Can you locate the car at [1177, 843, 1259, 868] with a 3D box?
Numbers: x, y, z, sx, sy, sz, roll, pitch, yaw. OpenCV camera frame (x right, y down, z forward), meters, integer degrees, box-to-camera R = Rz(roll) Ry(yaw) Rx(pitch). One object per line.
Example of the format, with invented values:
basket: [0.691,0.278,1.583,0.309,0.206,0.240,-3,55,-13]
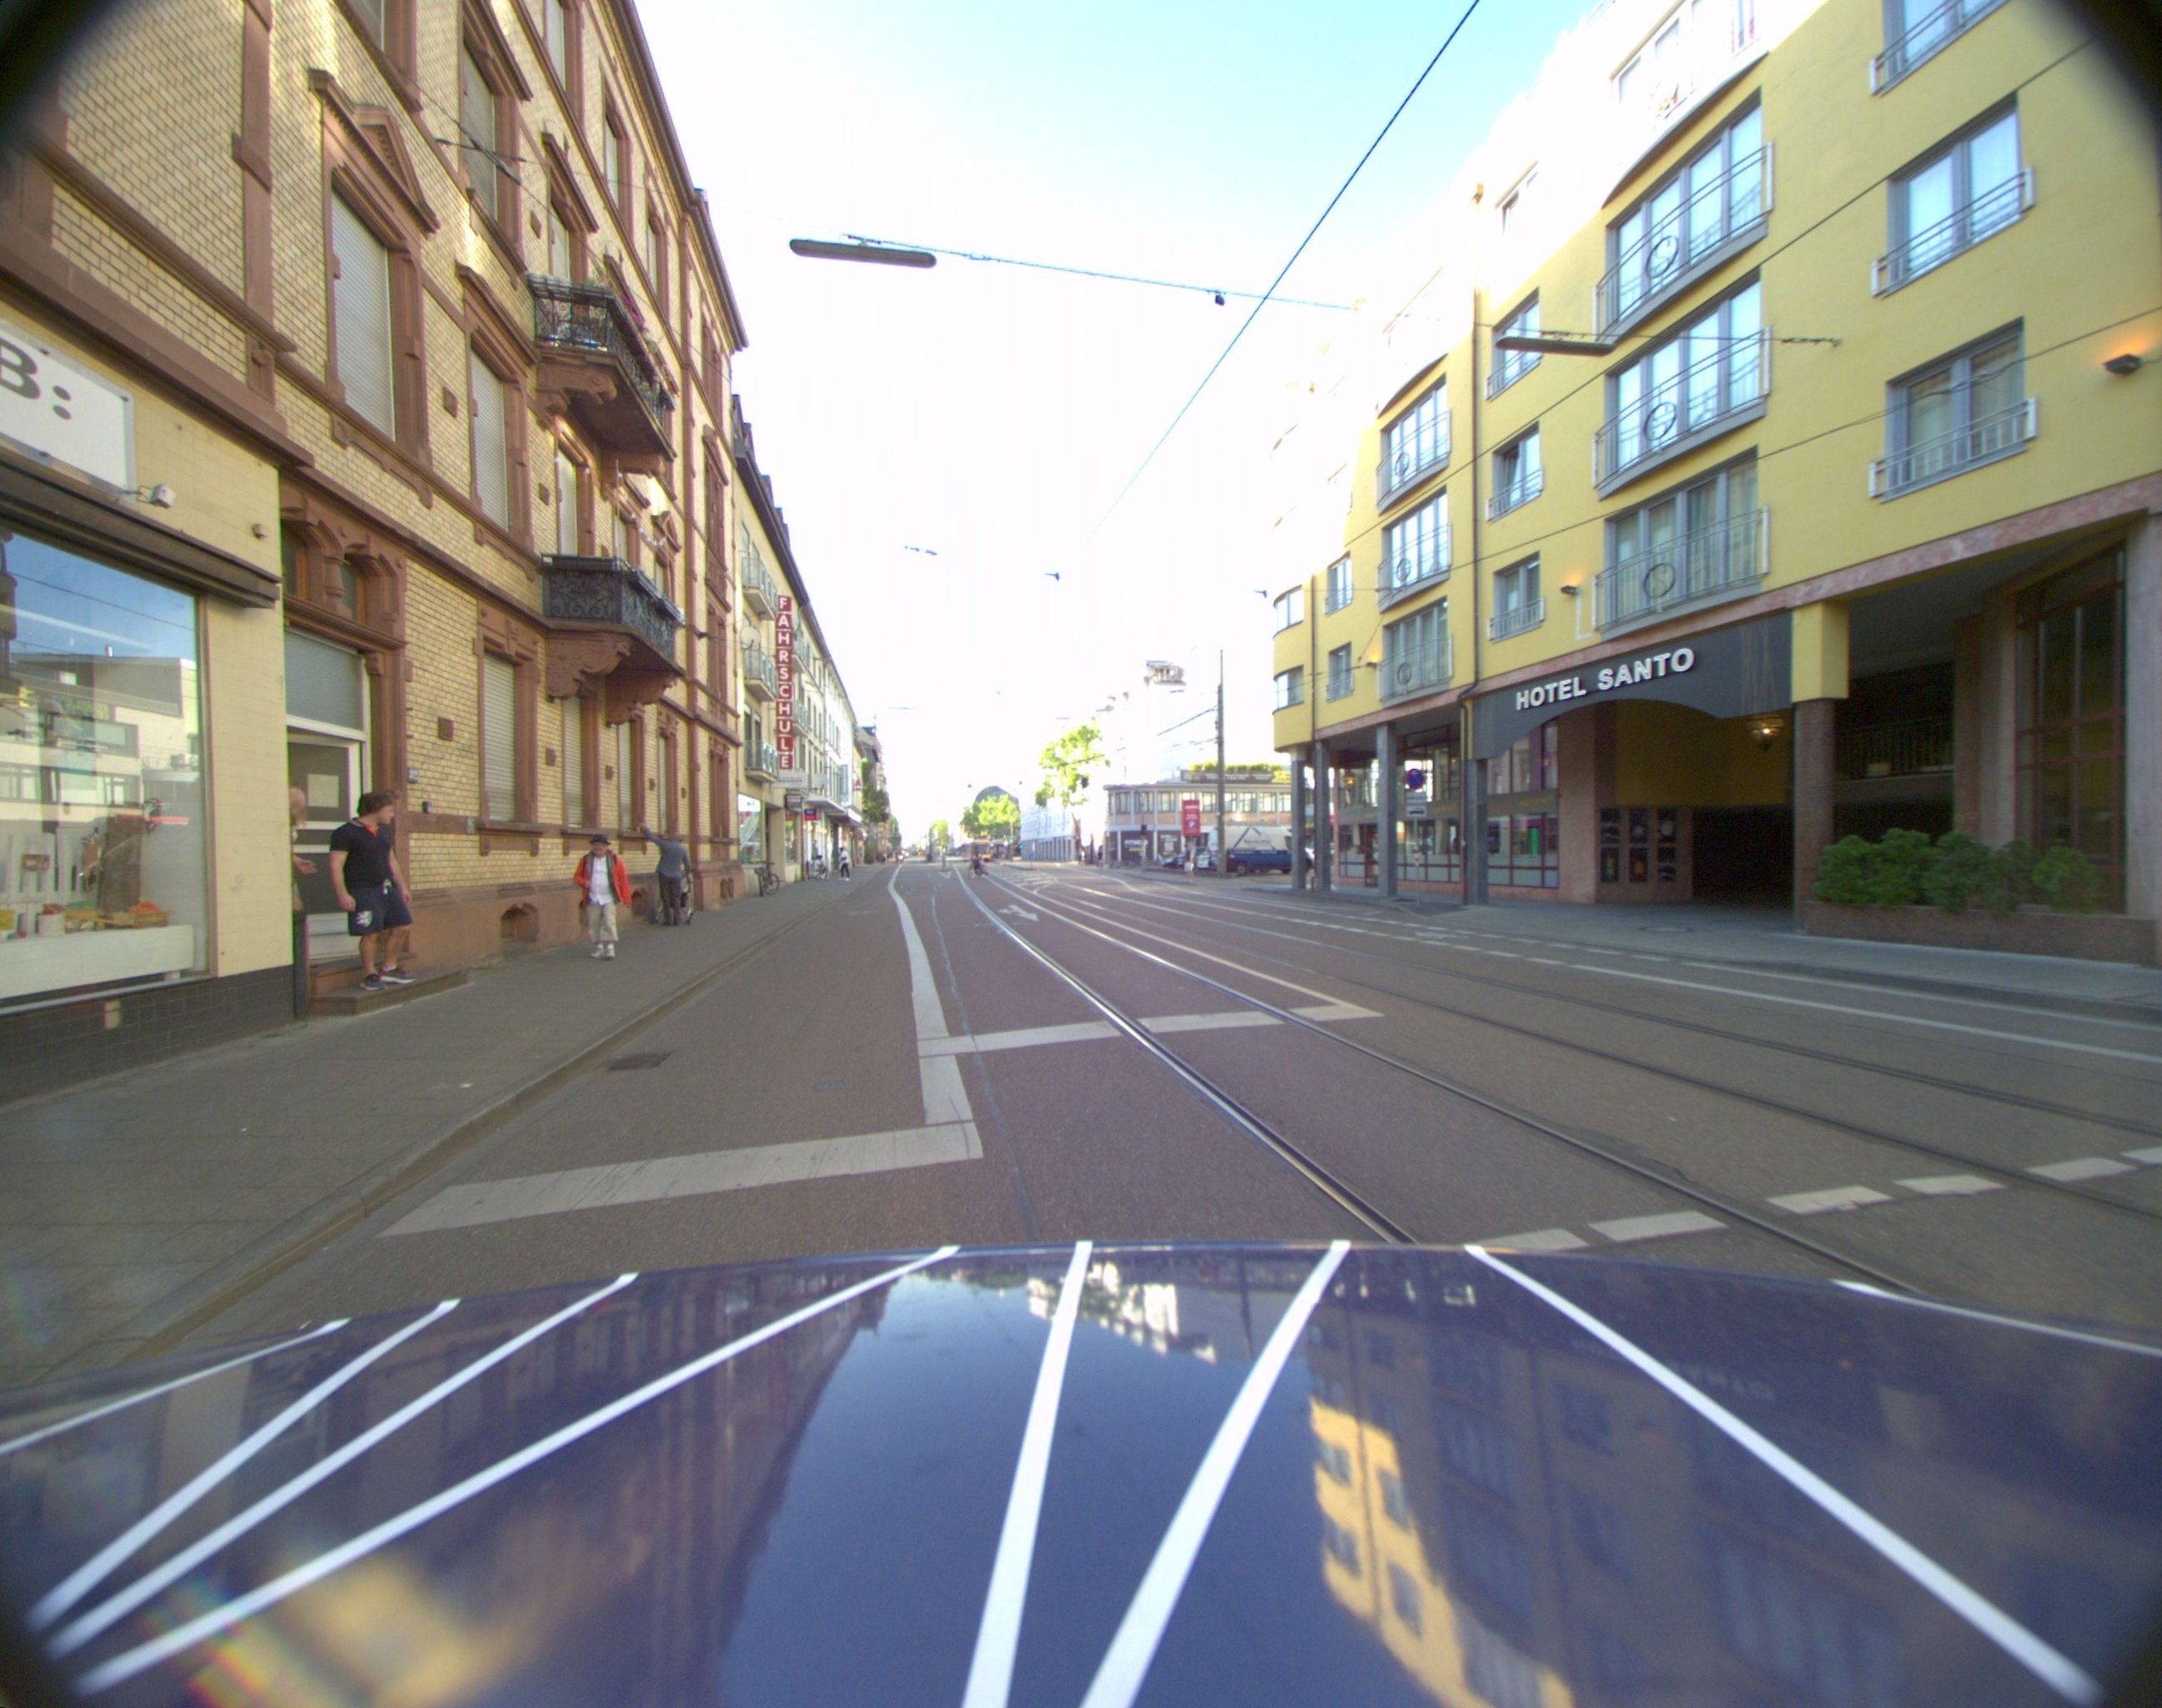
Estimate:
car: [8.408,0.095,46.713,4.605,1.467,1.877,-1,0,-12]

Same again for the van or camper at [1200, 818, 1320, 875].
van or camper: [9.242,-0.407,39.413,5.626,2.810,2.313,-1,0,-12]

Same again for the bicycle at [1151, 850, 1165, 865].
bicycle: [6.008,0.250,59.151,0.444,1.180,1.829,-1,0,-15]

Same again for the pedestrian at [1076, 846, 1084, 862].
pedestrian: [-0.103,0.015,78.539,0.631,1.706,0.826,0,1,15]

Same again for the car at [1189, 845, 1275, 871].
car: [8.827,0.214,44.640,4.605,1.467,1.877,-1,0,-12]

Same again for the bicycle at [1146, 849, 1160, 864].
bicycle: [5.585,0.211,58.961,0.450,1.180,1.829,-1,0,-15]

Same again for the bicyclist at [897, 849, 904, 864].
bicyclist: [-19.260,0.265,81.022,0.678,1.604,0.836,-2,1,-14]

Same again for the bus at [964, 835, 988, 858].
bus: [-17.004,-1.218,122.278,2.821,3.547,13.662,-1,1,-11]

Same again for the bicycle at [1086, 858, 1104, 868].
bicycle: [1.421,0.885,77.211,1.851,0.906,0.389,-2,-4,-7]

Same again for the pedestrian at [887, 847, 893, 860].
pedestrian: [-24.869,-0.054,98.823,0.651,1.706,0.805,-1,1,-12]

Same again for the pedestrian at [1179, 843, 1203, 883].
pedestrian: [5.121,0.402,35.519,0.836,1.822,0.908,-1,1,-13]

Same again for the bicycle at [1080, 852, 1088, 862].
bicycle: [0.282,0.311,77.402,0.389,0.907,1.849,-2,1,-11]

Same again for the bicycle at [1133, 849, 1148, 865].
bicycle: [4.604,0.239,58.855,0.447,1.180,1.828,-1,0,-18]

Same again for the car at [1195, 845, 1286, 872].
car: [8.809,0.236,42.078,4.605,1.467,1.877,-1,0,-12]

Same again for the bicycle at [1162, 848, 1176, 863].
bicycle: [6.841,0.130,59.158,0.450,1.180,1.829,-1,0,-15]

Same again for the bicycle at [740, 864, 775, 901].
bicycle: [-10.127,0.861,23.856,0.557,1.055,2.308,2,0,-12]

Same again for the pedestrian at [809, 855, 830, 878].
pedestrian: [-13.787,0.658,40.043,0.708,1.167,1.013,5,-1,-31]

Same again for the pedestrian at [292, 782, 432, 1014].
pedestrian: [-6.203,0.374,6.589,0.516,1.894,0.594,4,-1,-11]

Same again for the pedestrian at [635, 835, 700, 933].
pedestrian: [-7.879,0.563,14.510,0.808,1.789,0.760,3,0,-13]

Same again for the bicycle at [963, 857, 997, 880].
bicycle: [-5.673,0.784,42.805,1.835,1.165,0.681,-2,5,-42]

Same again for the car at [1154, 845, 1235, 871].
car: [7.448,0.258,49.833,4.912,1.574,1.877,-1,0,-12]

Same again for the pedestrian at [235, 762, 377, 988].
pedestrian: [-6.894,0.189,6.793,0.516,1.894,0.594,4,-1,-11]

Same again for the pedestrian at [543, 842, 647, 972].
pedestrian: [-6.443,0.687,10.124,0.800,1.618,0.825,4,-1,-11]

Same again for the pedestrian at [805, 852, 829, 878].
pedestrian: [-13.541,0.588,39.026,0.704,1.248,0.833,4,-1,43]

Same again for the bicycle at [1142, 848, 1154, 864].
bicycle: [5.159,0.141,58.578,0.442,1.180,1.829,-1,0,-13]

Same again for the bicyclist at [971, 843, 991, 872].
bicyclist: [-5.641,0.173,42.767,0.839,1.541,0.689,-2,6,-42]

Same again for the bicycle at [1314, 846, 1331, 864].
bicycle: [16.586,0.055,52.188,0.432,1.180,1.830,-1,0,-5]

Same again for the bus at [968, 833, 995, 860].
bus: [-14.356,-1.068,109.093,2.821,3.547,13.663,-1,1,-11]

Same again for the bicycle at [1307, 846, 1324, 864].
bicycle: [16.110,0.053,52.148,0.432,1.180,1.830,-1,0,-5]

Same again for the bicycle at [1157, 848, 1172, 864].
bicycle: [6.481,0.166,59.014,0.450,1.180,1.829,-1,0,-15]

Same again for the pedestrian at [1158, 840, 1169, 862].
pedestrian: [6.405,-0.248,58.863,0.683,1.687,0.682,-1,1,-14]

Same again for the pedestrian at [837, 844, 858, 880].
pedestrian: [-12.275,0.434,39.936,0.706,1.801,0.679,5,-1,3]
